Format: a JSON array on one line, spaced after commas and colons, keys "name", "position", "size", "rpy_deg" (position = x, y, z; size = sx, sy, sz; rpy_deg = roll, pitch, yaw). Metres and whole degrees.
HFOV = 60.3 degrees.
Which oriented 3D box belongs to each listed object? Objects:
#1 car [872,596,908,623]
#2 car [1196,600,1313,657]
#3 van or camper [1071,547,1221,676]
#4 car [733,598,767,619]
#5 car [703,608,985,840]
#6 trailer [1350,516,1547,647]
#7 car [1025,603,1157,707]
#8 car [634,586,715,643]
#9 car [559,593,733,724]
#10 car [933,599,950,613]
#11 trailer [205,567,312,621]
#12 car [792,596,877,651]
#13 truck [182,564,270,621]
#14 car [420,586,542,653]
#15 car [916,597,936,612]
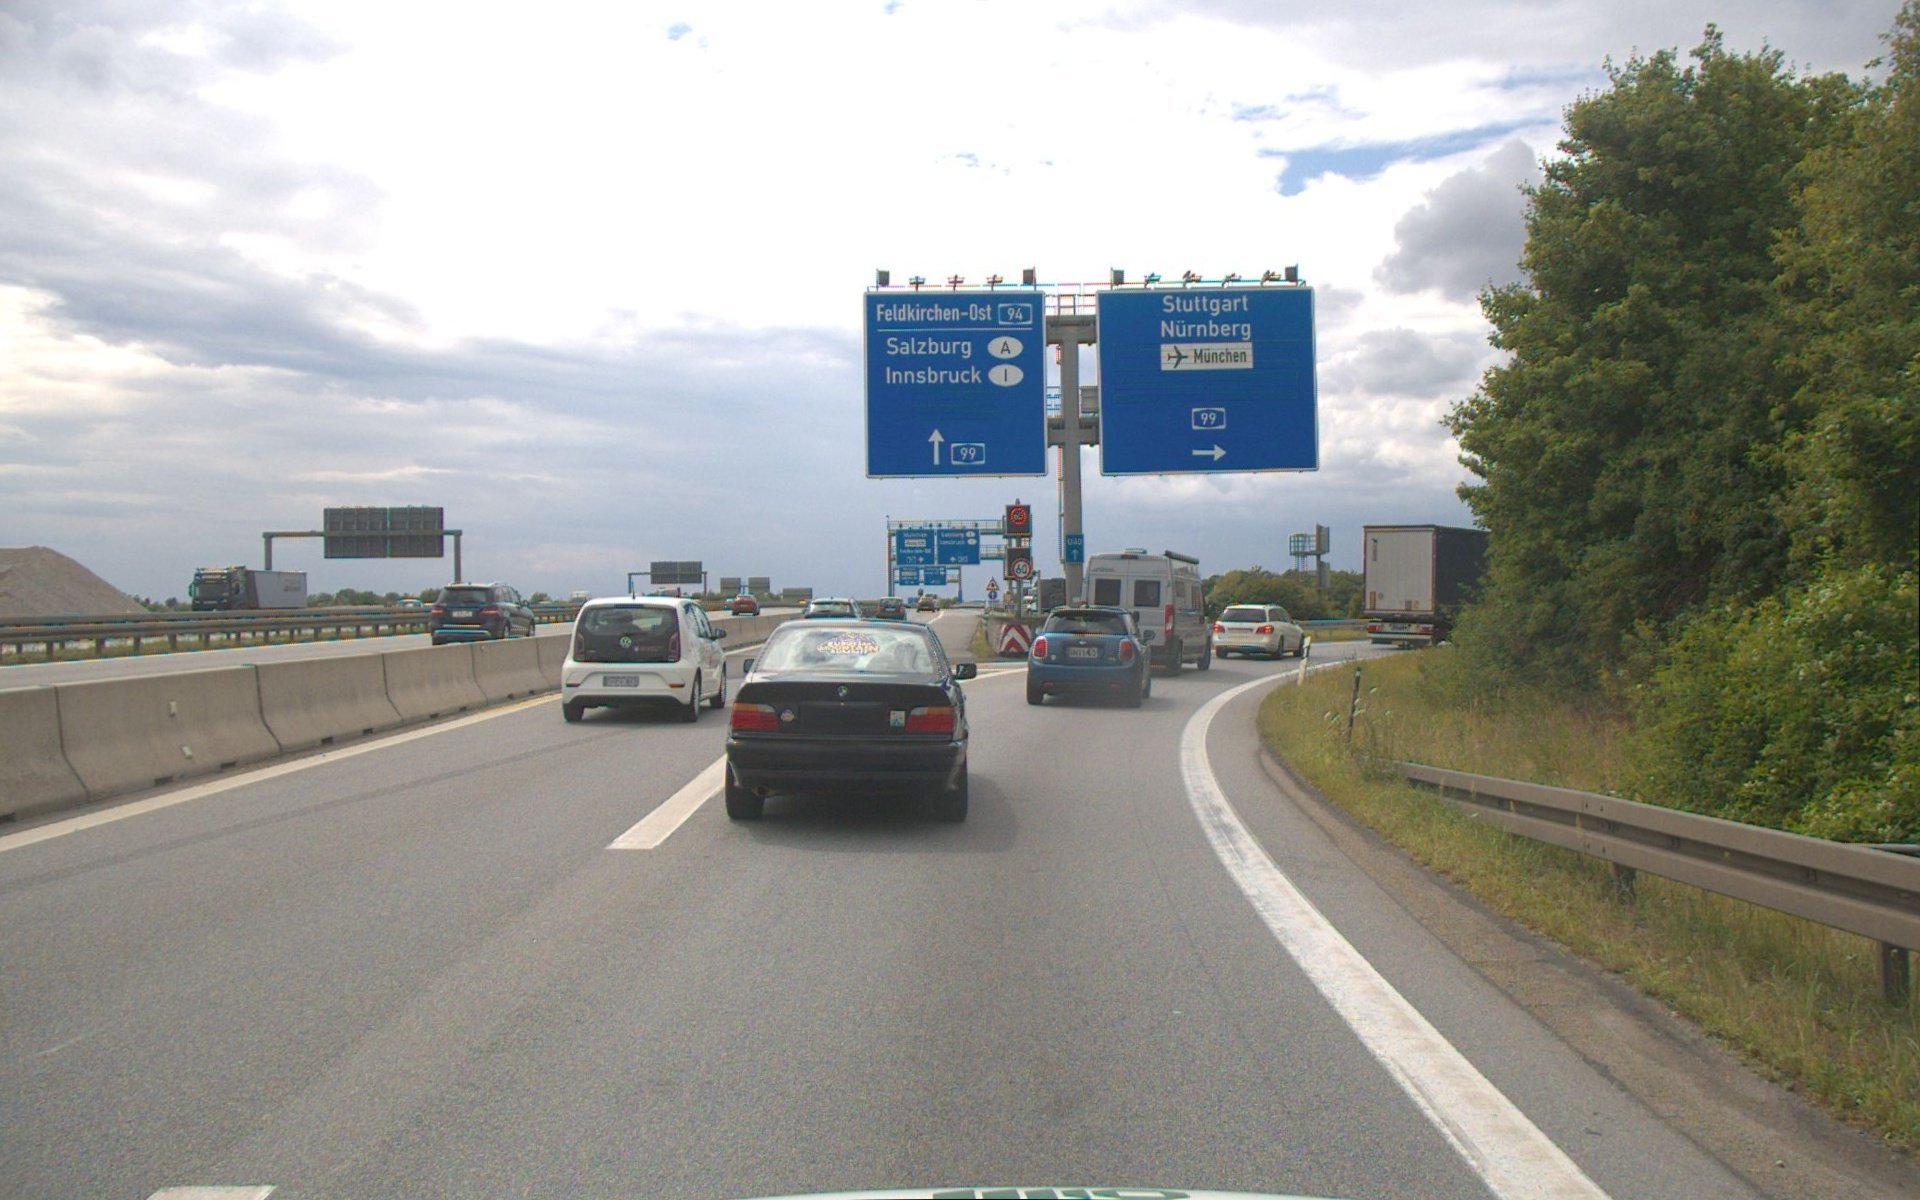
[{"name": "car", "position": [-3.873, 0.510, 92.211], "size": [1.828, 1.449, 4.000], "rpy_deg": [0, 0, 0]}, {"name": "car", "position": [8.388, 0.771, 46.803], "size": [2.162, 1.527, 4.784], "rpy_deg": [0, 0, 24]}, {"name": "van or camper", "position": [4.278, 0.228, 36.900], "size": [2.245, 2.613, 6.164], "rpy_deg": [0, 0, 17]}, {"name": "car", "position": [-15.547, 0.626, 122.825], "size": [1.952, 1.494, 4.000], "rpy_deg": [0, 0, 1]}, {"name": "car", "position": [-0.731, 0.779, 12.328], "size": [1.746, 1.402, 4.136], "rpy_deg": [0, 0, 0]}, {"name": "trailer", "position": [18.048, -0.596, 60.181], "size": [3.272, 4.266, 12.994], "rpy_deg": [0, 0, 33]}, {"name": "car", "position": [2.078, 0.780, 25.363], "size": [1.692, 1.444, 3.669], "rpy_deg": [1, 0, 9]}, {"name": "car", "position": [-9.032, 0.439, 52.593], "size": [1.953, 1.736, 3.999], "rpy_deg": [0, 0, -1]}, {"name": "car", "position": [-3.872, 0.673, 20.901], "size": [1.553, 1.510, 3.534], "rpy_deg": [0, 0, 0]}, {"name": "car", "position": [-1.988, 0.645, 182.042], "size": [1.766, 1.449, 4.000], "rpy_deg": [0, 0, 1]}, {"name": "trailer", "position": [-44.986, -0.368, 106.514], "size": [3.133, 3.326, 9.818], "rpy_deg": [0, 0, -3]}, {"name": "car", "position": [-3.540, 0.635, 47.179], "size": [1.952, 1.494, 4.001], "rpy_deg": [0, 0, 2]}, {"name": "truck", "position": [-44.678, -0.444, 100.890], "size": [3.087, 3.388, 5.619], "rpy_deg": [0, 0, -3]}, {"name": "car", "position": [-12.841, 0.496, 44.664], "size": [1.953, 1.713, 4.865], "rpy_deg": [0, 0, -1]}, {"name": "car", "position": [-3.261, 0.427, 159.152], "size": [1.766, 1.449, 4.000], "rpy_deg": [0, 0, 1]}]
